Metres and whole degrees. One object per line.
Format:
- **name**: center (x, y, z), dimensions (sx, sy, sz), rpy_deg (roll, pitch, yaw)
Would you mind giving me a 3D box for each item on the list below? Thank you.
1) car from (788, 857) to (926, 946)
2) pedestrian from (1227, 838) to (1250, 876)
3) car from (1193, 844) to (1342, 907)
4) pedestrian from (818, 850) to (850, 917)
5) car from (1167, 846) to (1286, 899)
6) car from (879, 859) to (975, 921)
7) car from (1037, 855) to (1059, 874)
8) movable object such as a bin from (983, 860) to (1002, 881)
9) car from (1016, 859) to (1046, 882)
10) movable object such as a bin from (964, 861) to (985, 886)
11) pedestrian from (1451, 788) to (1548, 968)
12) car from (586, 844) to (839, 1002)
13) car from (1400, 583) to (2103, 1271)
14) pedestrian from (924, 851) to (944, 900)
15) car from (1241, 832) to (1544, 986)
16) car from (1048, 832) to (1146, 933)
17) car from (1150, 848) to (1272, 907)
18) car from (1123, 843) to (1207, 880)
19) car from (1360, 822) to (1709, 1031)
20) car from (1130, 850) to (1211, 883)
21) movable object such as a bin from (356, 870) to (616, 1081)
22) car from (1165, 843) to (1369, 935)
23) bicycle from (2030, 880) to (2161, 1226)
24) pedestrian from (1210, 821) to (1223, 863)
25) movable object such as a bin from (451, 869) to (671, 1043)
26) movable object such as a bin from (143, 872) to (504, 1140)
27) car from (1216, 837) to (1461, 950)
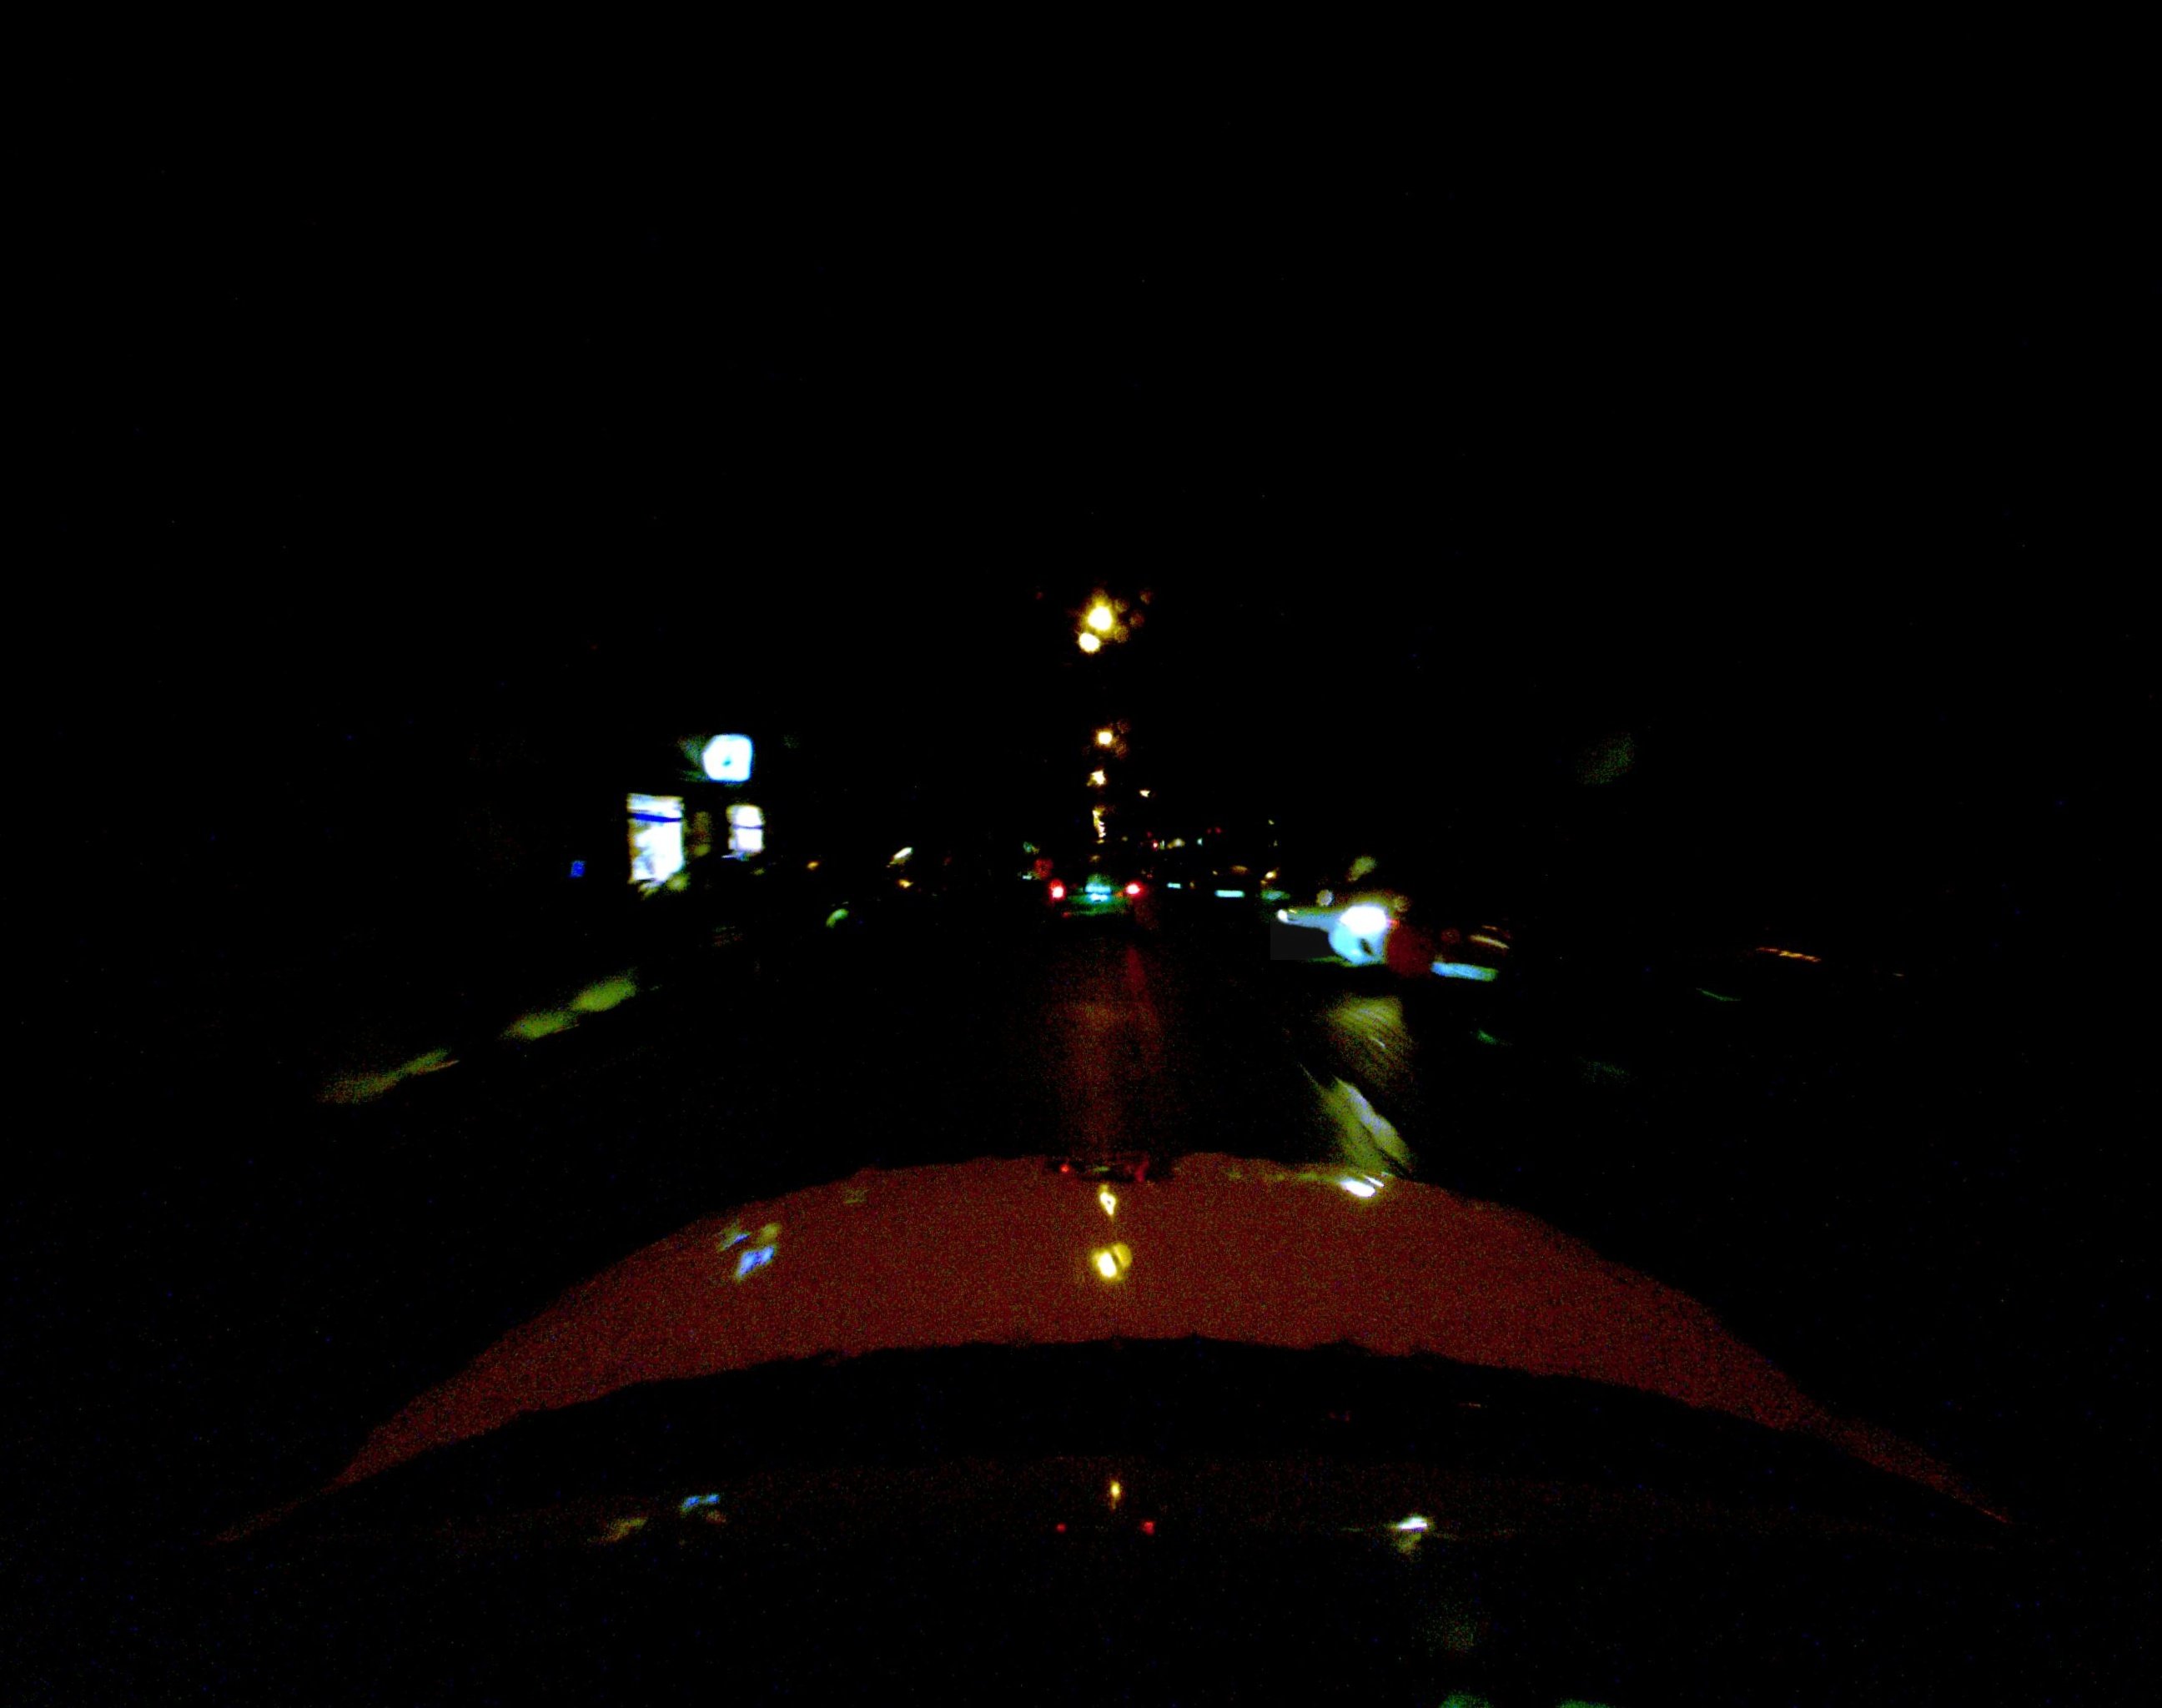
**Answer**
- **car**: center (-4.414, 0.863, 16.640), dimensions (1.598, 1.552, 4.026), rpy_deg (-1, 0, 1)
- **pedestrian**: center (8.017, 0.169, 41.527), dimensions (0.866, 1.856, 0.992), rpy_deg (-4, 0, -1)
- **car**: center (5.205, 0.577, 22.534), dimensions (4.017, 1.452, 1.670), rpy_deg (-3, -1, -34)
- **pedestrian**: center (-6.728, 0.788, 22.208), dimensions (0.637, 1.781, 0.549), rpy_deg (-2, -1, 1)
- **car**: center (4.860, 0.590, 27.093), dimensions (3.662, 1.580, 1.578), rpy_deg (-2, 0, -27)
- **car**: center (-4.083, 0.911, 22.236), dimensions (1.680, 1.455, 4.316), rpy_deg (-1, 0, 1)
- **car**: center (-2.856, 0.873, 71.058), dimensions (1.808, 1.557, 4.073), rpy_deg (-1, 0, -2)
- **movable object such as a bin**: center (-5.947, 1.117, 54.906), dimensions (1.043, 1.398, 1.159), rpy_deg (0, 0, 4)
- **car**: center (-3.348, 1.106, 55.339), dimensions (1.581, 1.482, 3.795), rpy_deg (-1, 0, 2)
- **movable object such as a bin**: center (-5.940, 1.070, 45.559), dimensions (0.970, 1.398, 1.134), rpy_deg (0, 0, 4)
- **pedestrian**: center (4.928, 0.265, 9.604), dimensions (0.645, 2.013, 0.671), rpy_deg (-4, 1, -30)
- **car**: center (-4.664, 0.776, 10.941), dimensions (1.598, 1.706, 3.722), rpy_deg (-2, 0, 1)
- **car**: center (4.213, 0.170, 4.822), dimensions (4.746, 2.248, 1.925), rpy_deg (-3, -1, -35)
- **pedestrian**: center (-5.558, 0.805, 30.853), dimensions (0.589, 1.820, 0.795), rpy_deg (0, 0, 1)
- **car**: center (4.006, 0.603, 10.391), dimensions (3.663, 1.542, 1.545), rpy_deg (-3, -1, -29)
- **car**: center (0.382, 0.617, 19.037), dimensions (1.986, 2.050, 4.001), rpy_deg (-2, -1, 1)
- **car**: center (3.904, 0.671, 24.130), dimensions (3.706, 1.460, 1.584), rpy_deg (-3, -1, -45)
- **car**: center (5.193, 0.441, 50.042), dimensions (4.814, 2.049, 2.047), rpy_deg (-2, 0, -30)
- **car**: center (4.463, 0.548, 7.888), dimensions (3.415, 1.542, 1.560), rpy_deg (-3, -1, -35)
- **car**: center (4.878, 0.661, 44.341), dimensions (4.007, 1.492, 1.720), rpy_deg (-4, 0, -25)
- **movable object such as a bin**: center (-4.498, 0.862, 6.272), dimensions (1.160, 1.459, 1.108), rpy_deg (-1, -1, 3)
- **car**: center (3.905, 0.671, 16.859), dimensions (4.016, 1.552, 1.785), rpy_deg (-3, -1, -34)
- **bicycle**: center (4.116, 0.695, 2.278), dimensions (0.584, 1.172, 1.859), rpy_deg (-2, 0, -8)
- **pedestrian**: center (11.577, -1.047, 69.438), dimensions (0.888, 3.528, 0.791), rpy_deg (-1, -1, 1)
- **movable object such as a bin**: center (-4.713, 0.879, 7.500), dimensions (1.257, 1.459, 1.151), rpy_deg (-1, -1, 3)
- **movable object such as a bin**: center (-4.606, 0.856, 5.078), dimensions (1.203, 1.459, 1.108), rpy_deg (-1, -1, 3)
- **car**: center (4.507, 0.600, 14.063), dimensions (4.019, 1.552, 1.978), rpy_deg (-3, -1, -37)
